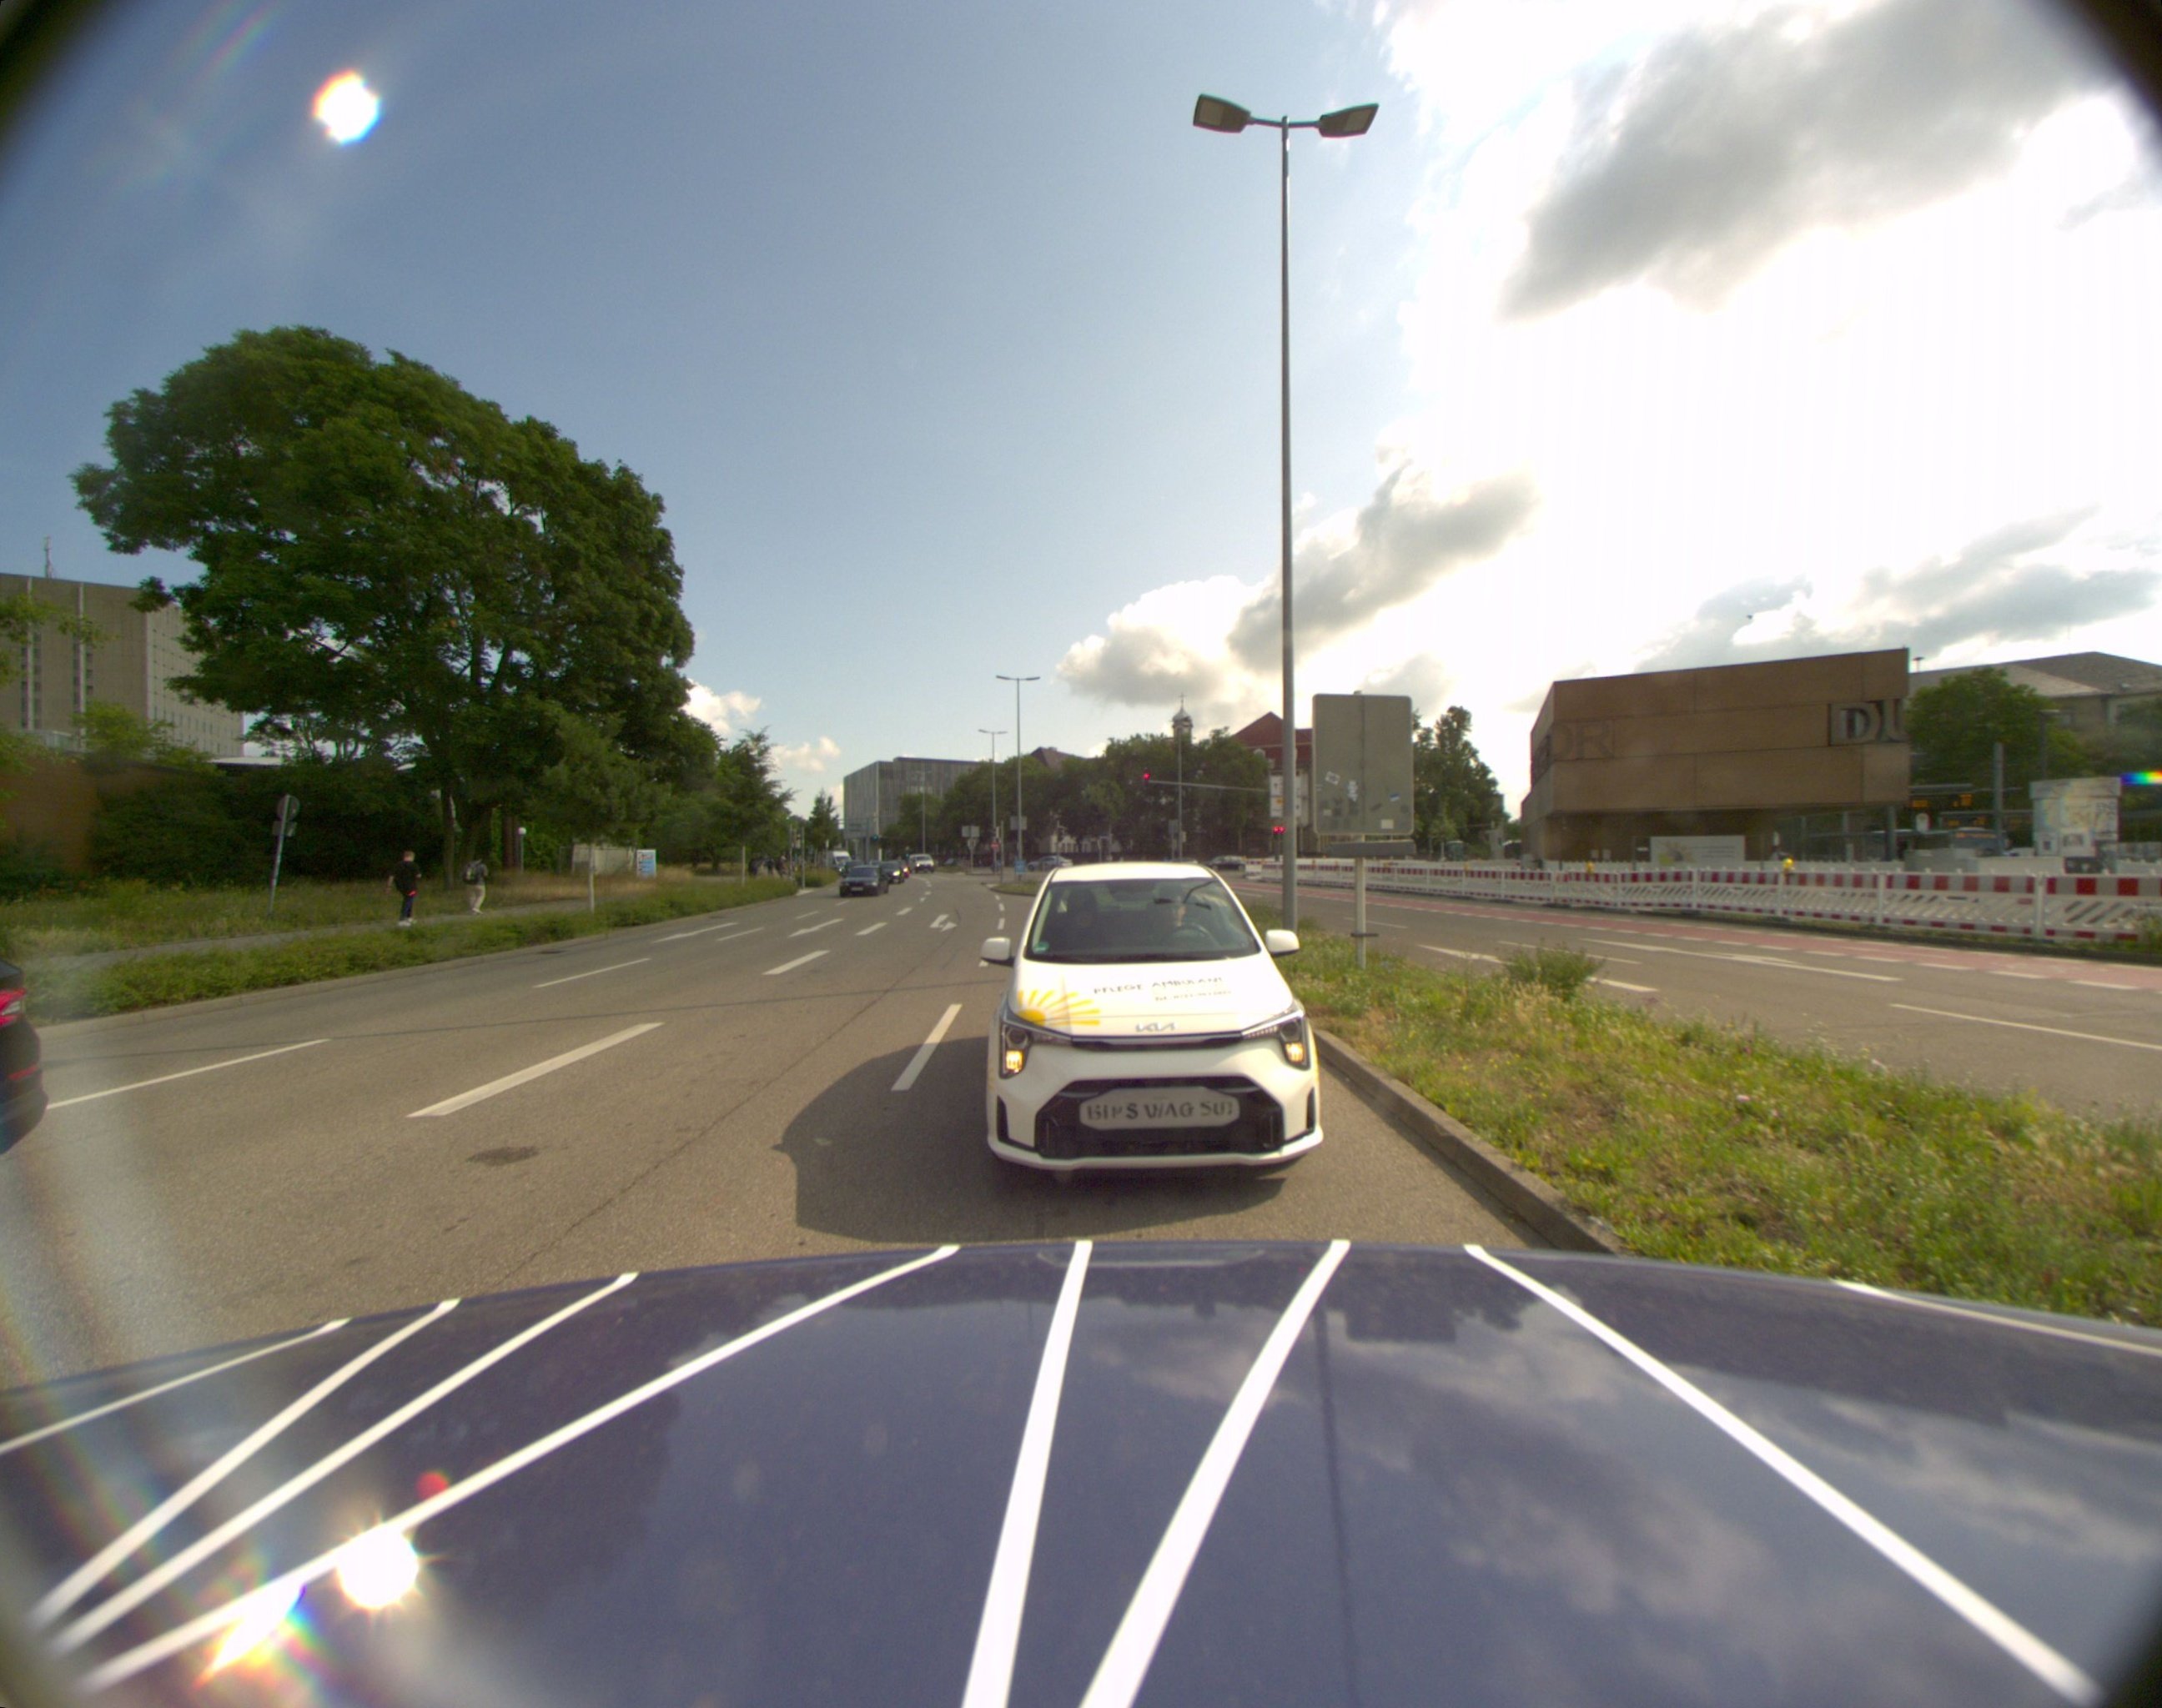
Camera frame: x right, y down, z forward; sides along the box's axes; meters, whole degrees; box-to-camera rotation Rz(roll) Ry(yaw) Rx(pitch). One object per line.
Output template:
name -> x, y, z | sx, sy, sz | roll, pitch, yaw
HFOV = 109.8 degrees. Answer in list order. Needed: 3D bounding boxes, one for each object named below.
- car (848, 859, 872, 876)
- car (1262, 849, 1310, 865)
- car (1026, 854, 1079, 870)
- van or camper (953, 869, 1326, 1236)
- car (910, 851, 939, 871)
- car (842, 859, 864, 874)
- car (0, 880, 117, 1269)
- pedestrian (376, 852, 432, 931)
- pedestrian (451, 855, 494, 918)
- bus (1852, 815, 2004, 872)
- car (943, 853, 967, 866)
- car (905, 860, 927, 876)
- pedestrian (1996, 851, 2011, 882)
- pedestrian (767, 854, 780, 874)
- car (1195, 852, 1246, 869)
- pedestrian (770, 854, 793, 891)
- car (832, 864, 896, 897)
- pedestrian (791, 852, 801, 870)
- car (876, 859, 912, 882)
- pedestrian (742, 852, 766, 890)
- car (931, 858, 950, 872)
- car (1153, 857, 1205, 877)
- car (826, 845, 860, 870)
car -> -20.585, 1.197, 70.660 | 2.002, 1.477, 3.993 | -1, 0, -19
car -> 18.790, 0.260, 69.644 | 4.136, 1.382, 1.756 | -1, 0, -29
car -> -2.808, 0.808, 75.274 | 5.085, 1.479, 1.963 | 0, 0, 35
van or camper -> 0.331, 0.906, 5.337 | 1.627, 1.467, 4.000 | 0, 1, 2
car -> -16.611, 0.735, 80.308 | 2.002, 2.002, 5.065 | -3, 1, -22
car -> -23.411, 1.223, 78.046 | 2.002, 1.477, 3.993 | -1, 0, -19
car -> -5.679, 1.000, 1.303 | 1.998, 1.659, 4.683 | -1, 1, 1
pedestrian -> -16.392, 0.889, 18.406 | 0.760, 1.860, 0.645 | 2, 1, 1
pedestrian -> -17.288, 0.908, 21.595 | 0.671, 1.736, 0.645 | 2, 1, 1
bus -> 57.903, -0.654, 52.483 | 2.957, 3.487, 12.276 | 0, 0, 28
car -> -15.817, 0.703, 95.324 | 2.003, 1.586, 3.991 | -1, 0, -26
car -> -14.015, 1.146, 64.684 | 1.610, 1.207, 3.007 | 1, 2, -7
pedestrian -> 47.017, 0.634, 38.726 | 0.357, 1.593, 0.365 | 0, 1, 21
pedestrian -> -32.168, 1.066, 79.502 | 0.988, 2.002, 1.128 | -3, 1, -16
car -> 12.129, 0.557, 66.035 | 4.136, 1.382, 1.756 | -1, 0, -29
pedestrian -> -16.577, 0.999, 42.120 | 0.988, 2.002, 1.128 | -3, 1, -16
car -> -10.022, 1.177, 35.430 | 1.999, 1.390, 4.507 | -1, 0, -5
pedestrian -> -33.070, 0.822, 88.173 | 0.988, 2.002, 1.128 | -1, 1, -16
car -> -12.436, 1.084, 50.642 | 1.713, 1.445, 3.998 | -1, 0, -5
pedestrian -> -17.952, 0.918, 41.789 | 0.988, 2.002, 1.128 | -3, 1, -16
car -> -21.310, 1.687, 114.891 | 1.775, 2.002, 3.605 | -3, 1, -27
car -> 9.152, 1.198, 71.242 | 4.344, 1.674, 1.997 | -2, 1, -13
car -> -28.255, 0.350, 90.127 | 2.490, 2.862, 6.134 | -1, 0, -30
